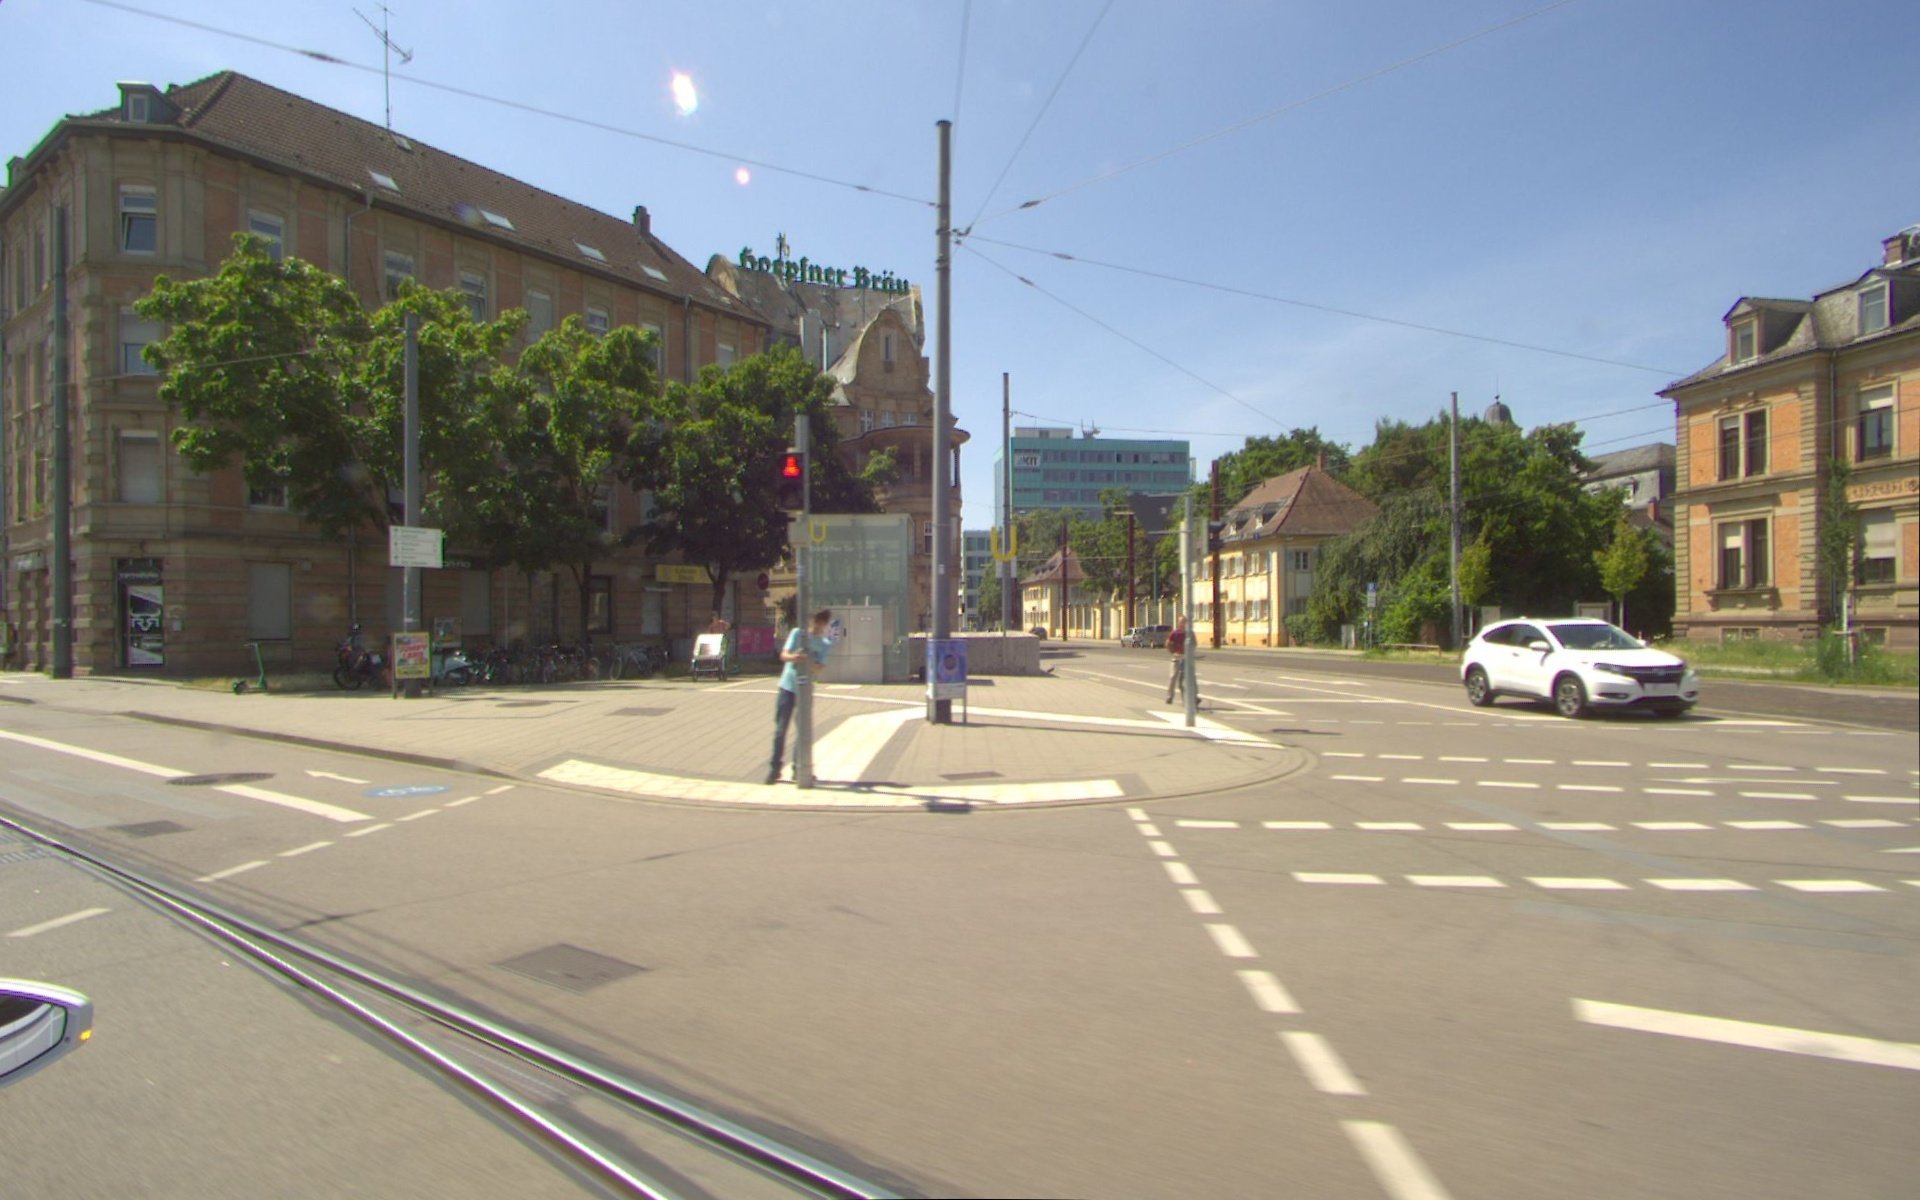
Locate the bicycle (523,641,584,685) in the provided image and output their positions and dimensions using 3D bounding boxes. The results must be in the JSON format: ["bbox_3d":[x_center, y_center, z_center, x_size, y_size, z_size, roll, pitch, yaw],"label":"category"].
[{"bbox_3d":[-11.349,1.738,27.933,1.812,1.161,0.644,-1,-1,33],"label":"bicycle"}]

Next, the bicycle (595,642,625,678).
[{"bbox_3d":[-10.454,1.775,29.892,0.451,1.004,1.419,0,-1,-36],"label":"bicycle"}]

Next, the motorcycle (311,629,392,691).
[{"bbox_3d":[-14.321,1.389,23.528,2.563,1.379,0.761,-2,-2,37],"label":"motorcycle"}]

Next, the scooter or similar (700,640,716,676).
[{"bbox_3d":[-8.192,1.863,32.561,0.263,1.140,0.987,0,-1,2],"label":"scooter or similar"}]

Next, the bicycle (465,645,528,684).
[{"bbox_3d":[-12.396,1.698,26.731,2.055,0.978,0.643,-1,-1,37],"label":"bicycle"}]

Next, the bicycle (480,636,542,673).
[{"bbox_3d":[-15.138,1.812,33.797,0.704,1.193,1.874,-1,-1,29],"label":"bicycle"}]

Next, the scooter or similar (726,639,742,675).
[{"bbox_3d":[-7.312,1.836,32.359,0.263,1.140,0.987,0,-1,2],"label":"scooter or similar"}]

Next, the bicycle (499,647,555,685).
[{"bbox_3d":[-11.836,1.790,27.344,1.816,0.978,0.642,-1,-1,39],"label":"bicycle"}]

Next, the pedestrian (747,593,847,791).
[{"bbox_3d":[-1.590,0.856,9.711,0.796,1.802,0.872,0,-1,-21],"label":"pedestrian"}]

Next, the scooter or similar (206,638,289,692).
[{"bbox_3d":[-16.303,1.466,22.963,0.701,1.170,1.525,0,-1,8],"label":"scooter or similar"}]

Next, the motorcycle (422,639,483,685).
[{"bbox_3d":[-12.838,1.554,25.326,1.725,1.110,0.688,-2,-2,37],"label":"motorcycle"}]

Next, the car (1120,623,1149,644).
[{"bbox_3d":[14.678,2.832,84.343,1.610,1.689,3.481,0,-1,-4],"label":"car"}]

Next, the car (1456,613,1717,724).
[{"bbox_3d":[10.297,1.064,16.894,1.675,1.626,4.177,0,-1,-2],"label":"car"}]

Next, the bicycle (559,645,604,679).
[{"bbox_3d":[-10.860,1.763,28.712,1.409,0.917,0.454,-1,-1,33],"label":"bicycle"}]

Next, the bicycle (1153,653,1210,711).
[{"bbox_3d":[4.317,1.583,19.647,0.712,1.018,2.020,0,-1,1],"label":"bicycle"}]

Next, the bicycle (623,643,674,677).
[{"bbox_3d":[-9.586,1.835,30.839,1.543,1.004,0.502,-1,-1,22],"label":"bicycle"}]

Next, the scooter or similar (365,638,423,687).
[{"bbox_3d":[-13.983,1.549,24.737,1.358,1.166,0.600,-2,-1,27],"label":"scooter or similar"}]

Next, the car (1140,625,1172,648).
[{"bbox_3d":[15.370,2.854,78.766,1.610,1.806,3.481,0,-1,-4],"label":"car"}]

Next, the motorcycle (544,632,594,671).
[{"bbox_3d":[-13.707,1.793,35.122,0.496,1.306,1.636,-1,-1,35],"label":"motorcycle"}]

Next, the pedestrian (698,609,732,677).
[{"bbox_3d":[-6.630,1.149,27.104,0.799,1.798,0.825,-1,-1,-8],"label":"pedestrian"}]

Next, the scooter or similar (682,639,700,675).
[{"bbox_3d":[-8.710,1.845,32.450,0.263,1.140,0.987,0,-1,2],"label":"scooter or similar"}]

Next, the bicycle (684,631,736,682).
[{"bbox_3d":[-6.569,1.457,26.468,1.078,1.267,2.221,0,-1,-8],"label":"bicycle"}]

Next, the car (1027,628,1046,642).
[{"bbox_3d":[9.332,4.260,122.432,1.661,1.661,3.581,0,-2,-8],"label":"car"}]
